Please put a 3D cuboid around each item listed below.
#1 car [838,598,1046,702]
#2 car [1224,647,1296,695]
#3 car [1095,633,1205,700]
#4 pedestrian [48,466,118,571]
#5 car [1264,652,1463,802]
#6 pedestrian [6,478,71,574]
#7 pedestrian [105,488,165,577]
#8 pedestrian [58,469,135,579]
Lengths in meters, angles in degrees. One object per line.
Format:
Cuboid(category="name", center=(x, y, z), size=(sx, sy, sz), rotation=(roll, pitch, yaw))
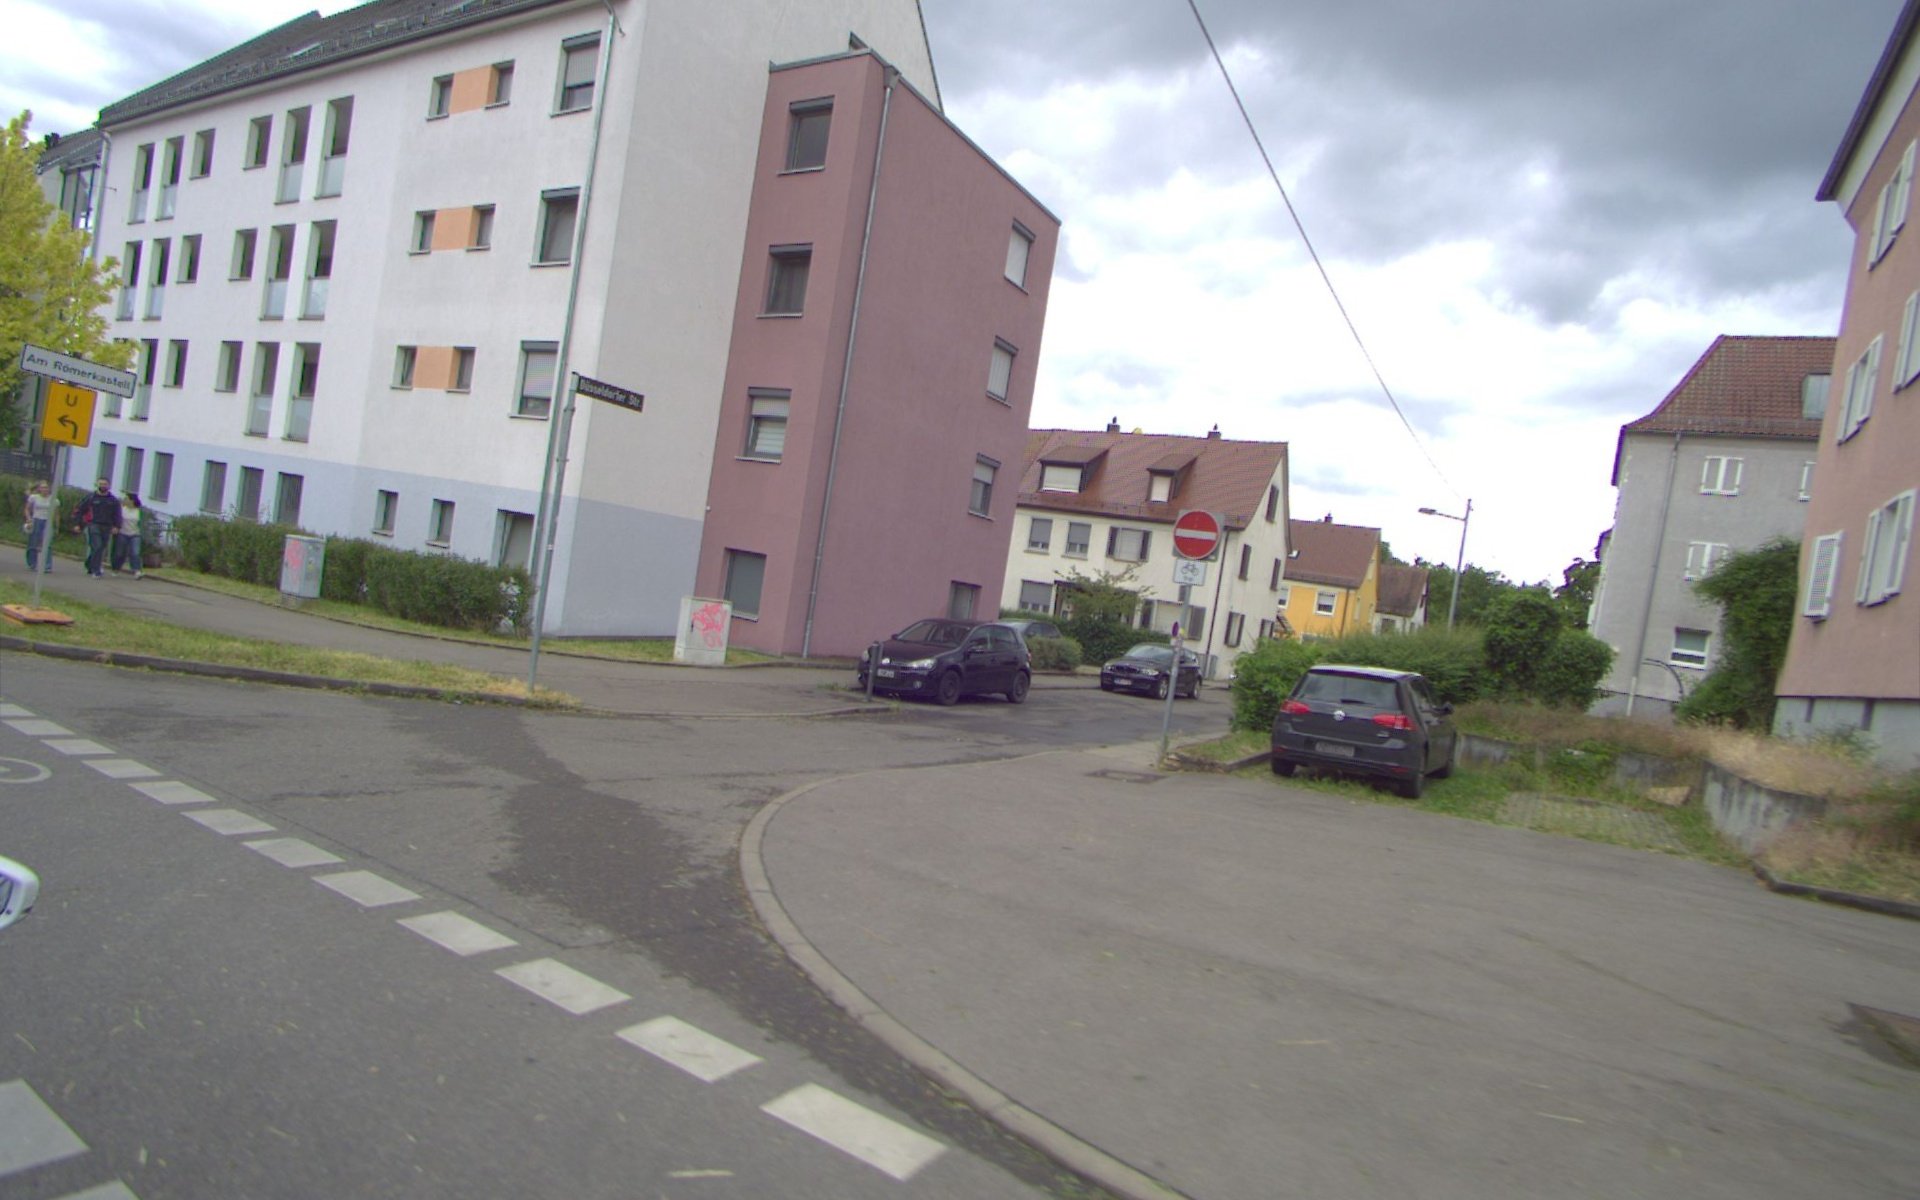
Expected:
Cuboid(category="car", center=(-0.209, 0.980, 18.467), size=(1.731, 1.473, 3.992), rotation=(8, -1, 33))
Cuboid(category="car", center=(11.153, 2.658, 37.228), size=(1.675, 1.437, 3.997), rotation=(8, -1, 28))
Cuboid(category="car", center=(5.197, 1.825, 27.163), size=(1.675, 1.437, 3.997), rotation=(8, -1, 28))
Cuboid(category="pedestrian", center=(-17.034, -1.565, 19.542), size=(0.608, 1.910, 0.672), rotation=(6, 0, 15))
Cuboid(category="car", center=(5.394, 1.557, 13.138), size=(1.661, 1.470, 3.992), rotation=(6, -1, 32))
Cuboid(category="pedestrian", center=(-16.993, -1.363, 18.557), size=(0.551, 1.664, 0.578), rotation=(6, 1, 18))
Cuboid(category="pedestrian", center=(-15.853, -1.281, 19.331), size=(0.565, 1.628, 0.657), rotation=(7, 5, 23))
Cuboid(category="pedestrian", center=(-15.989, -1.405, 18.627), size=(0.752, 1.910, 0.672), rotation=(6, 1, 20))
